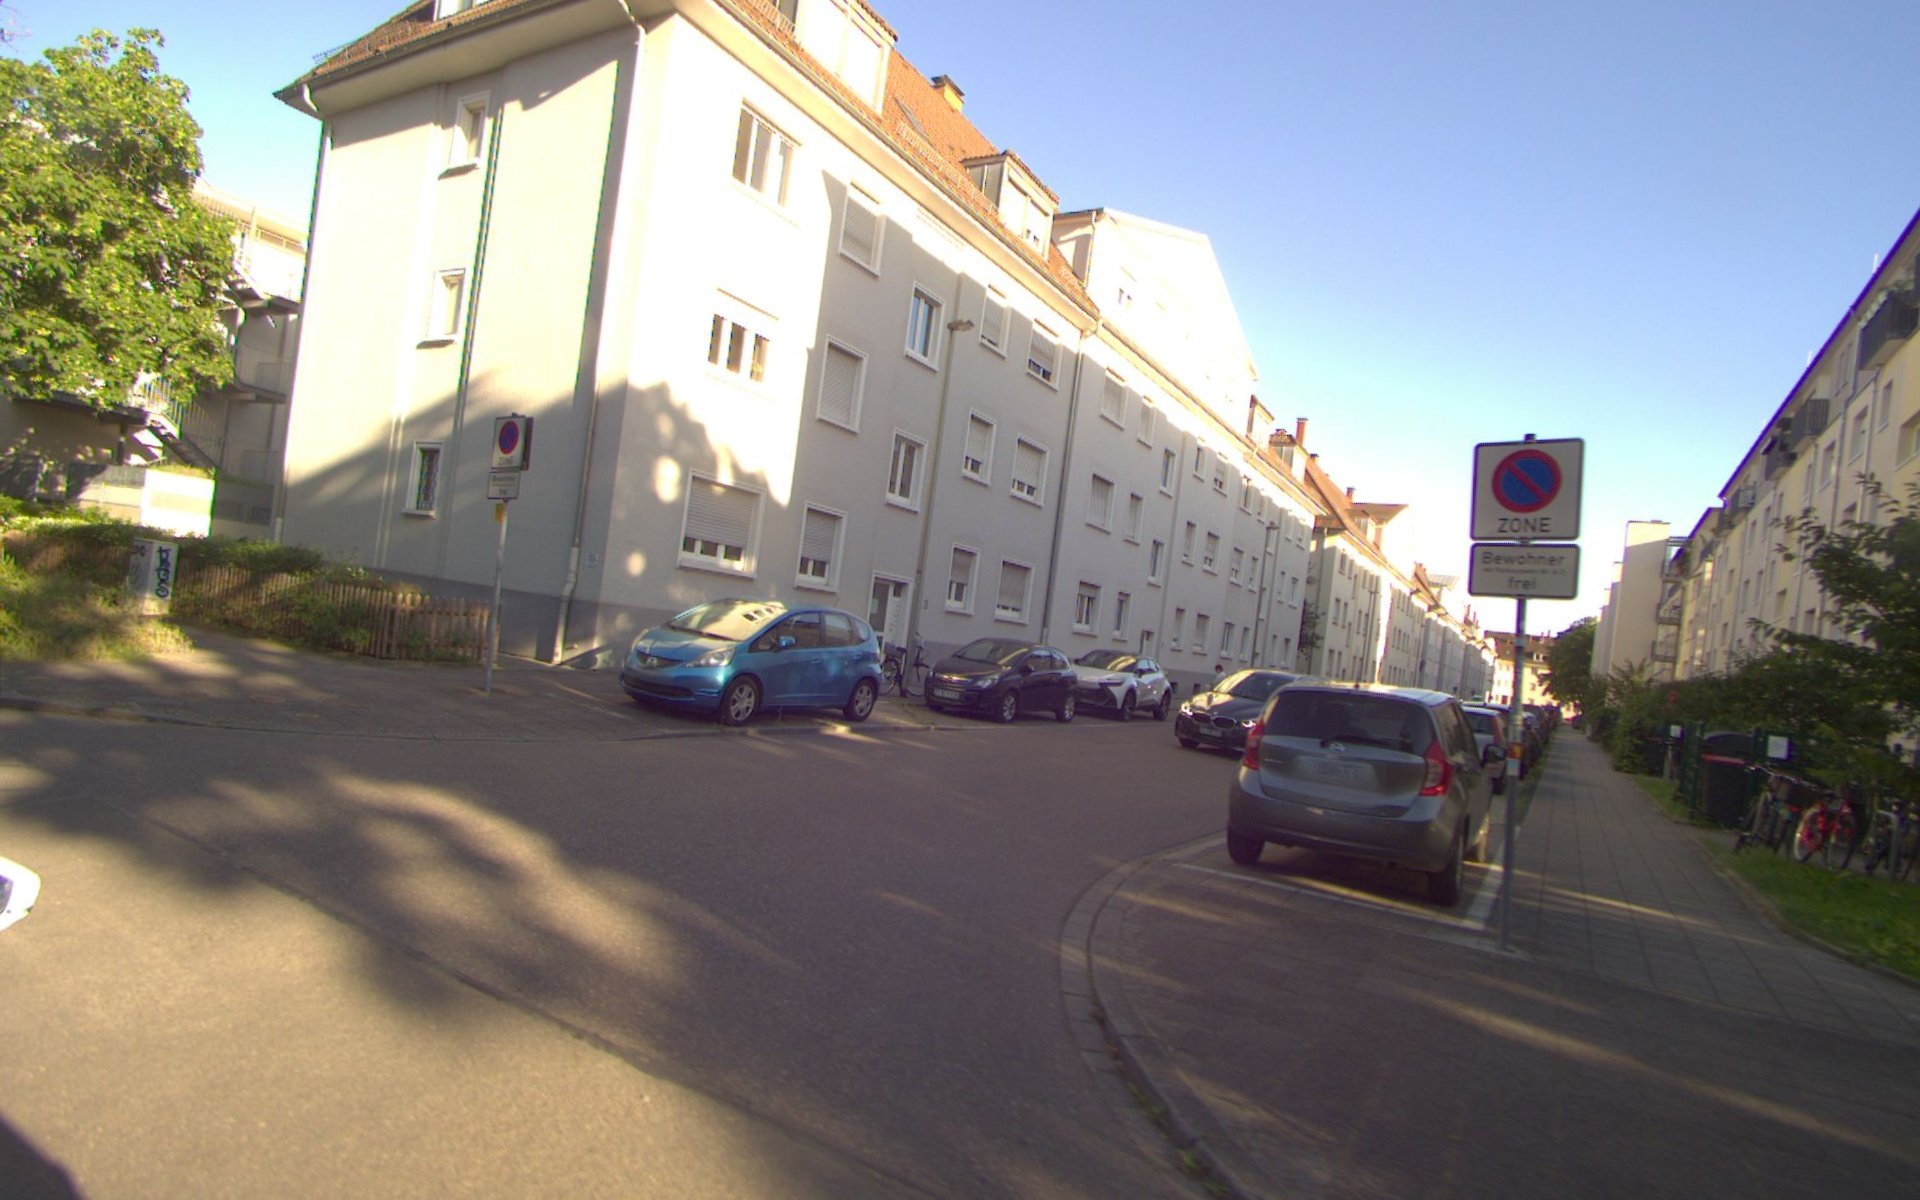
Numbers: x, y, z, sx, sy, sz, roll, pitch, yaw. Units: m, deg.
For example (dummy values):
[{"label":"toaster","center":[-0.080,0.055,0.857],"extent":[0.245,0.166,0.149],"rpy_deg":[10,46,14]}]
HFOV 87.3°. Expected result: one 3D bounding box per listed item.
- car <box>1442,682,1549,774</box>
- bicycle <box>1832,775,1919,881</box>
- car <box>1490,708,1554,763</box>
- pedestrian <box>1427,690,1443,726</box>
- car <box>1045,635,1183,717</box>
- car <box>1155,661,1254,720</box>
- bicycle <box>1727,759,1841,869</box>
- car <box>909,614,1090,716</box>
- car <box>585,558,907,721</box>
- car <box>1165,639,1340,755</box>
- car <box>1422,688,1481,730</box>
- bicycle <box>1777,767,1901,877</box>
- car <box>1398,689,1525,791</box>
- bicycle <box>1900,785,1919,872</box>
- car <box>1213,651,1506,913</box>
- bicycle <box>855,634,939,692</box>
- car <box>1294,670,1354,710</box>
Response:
[{"label":"car","center":[12.500,2.919,23.453],"extent":[1.867,1.686,3.773],"rpy_deg":[7,-1,30]},{"label":"bicycle","center":[10.762,2.610,11.604],"extent":[0.536,0.970,1.975],"rpy_deg":[7,-2,28]},{"label":"car","center":[21.795,5.212,39.057],"extent":[1.866,1.686,3.773],"rpy_deg":[9,0,30]},{"label":"pedestrian","center":[27.953,6.362,59.178],"extent":[0.545,2.037,0.809],"rpy_deg":[8,-1,30]},{"label":"car","center":[3.746,1.852,23.921],"extent":[1.705,1.514,4.023],"rpy_deg":[7,-2,31]},{"label":"car","center":[7.242,2.683,29.530],"extent":[1.684,1.367,3.796],"rpy_deg":[8,-2,30]},{"label":"bicycle","center":[9.367,2.396,11.500],"extent":[0.536,0.970,1.906],"rpy_deg":[7,-2,28]},{"label":"car","center":[0.858,1.287,19.024],"extent":[1.621,1.515,3.833],"rpy_deg":[8,-2,31]},{"label":"car","center":[-2.583,0.588,13.150],"extent":[1.779,1.600,3.996],"rpy_deg":[9,-1,29]},{"label":"car","center":[5.545,1.881,18.682],"extent":[1.741,1.691,4.273],"rpy_deg":[7,-3,34]},{"label":"car","center":[20.480,4.550,41.887],"extent":[1.721,1.407,3.498],"rpy_deg":[8,-2,32]},{"label":"bicycle","center":[10.089,2.508,11.614],"extent":[0.536,0.970,1.975],"rpy_deg":[7,-2,28]},{"label":"car","center":[9.708,2.653,19.328],"extent":[1.721,1.510,3.498],"rpy_deg":[8,-2,32]},{"label":"bicycle","center":[11.149,2.636,11.095],"extent":[0.536,0.970,1.975],"rpy_deg":[7,-2,28]},{"label":"car","center":[3.675,1.423,8.761],"extent":[1.698,1.531,4.051],"rpy_deg":[6,-3,30]},{"label":"bicycle","center":[-1.168,1.223,19.233],"extent":[0.475,0.936,1.968],"rpy_deg":[8,-2,30]},{"label":"car","center":[15.872,3.921,43.720],"extent":[1.684,1.367,4.019],"rpy_deg":[8,-2,30]}]
